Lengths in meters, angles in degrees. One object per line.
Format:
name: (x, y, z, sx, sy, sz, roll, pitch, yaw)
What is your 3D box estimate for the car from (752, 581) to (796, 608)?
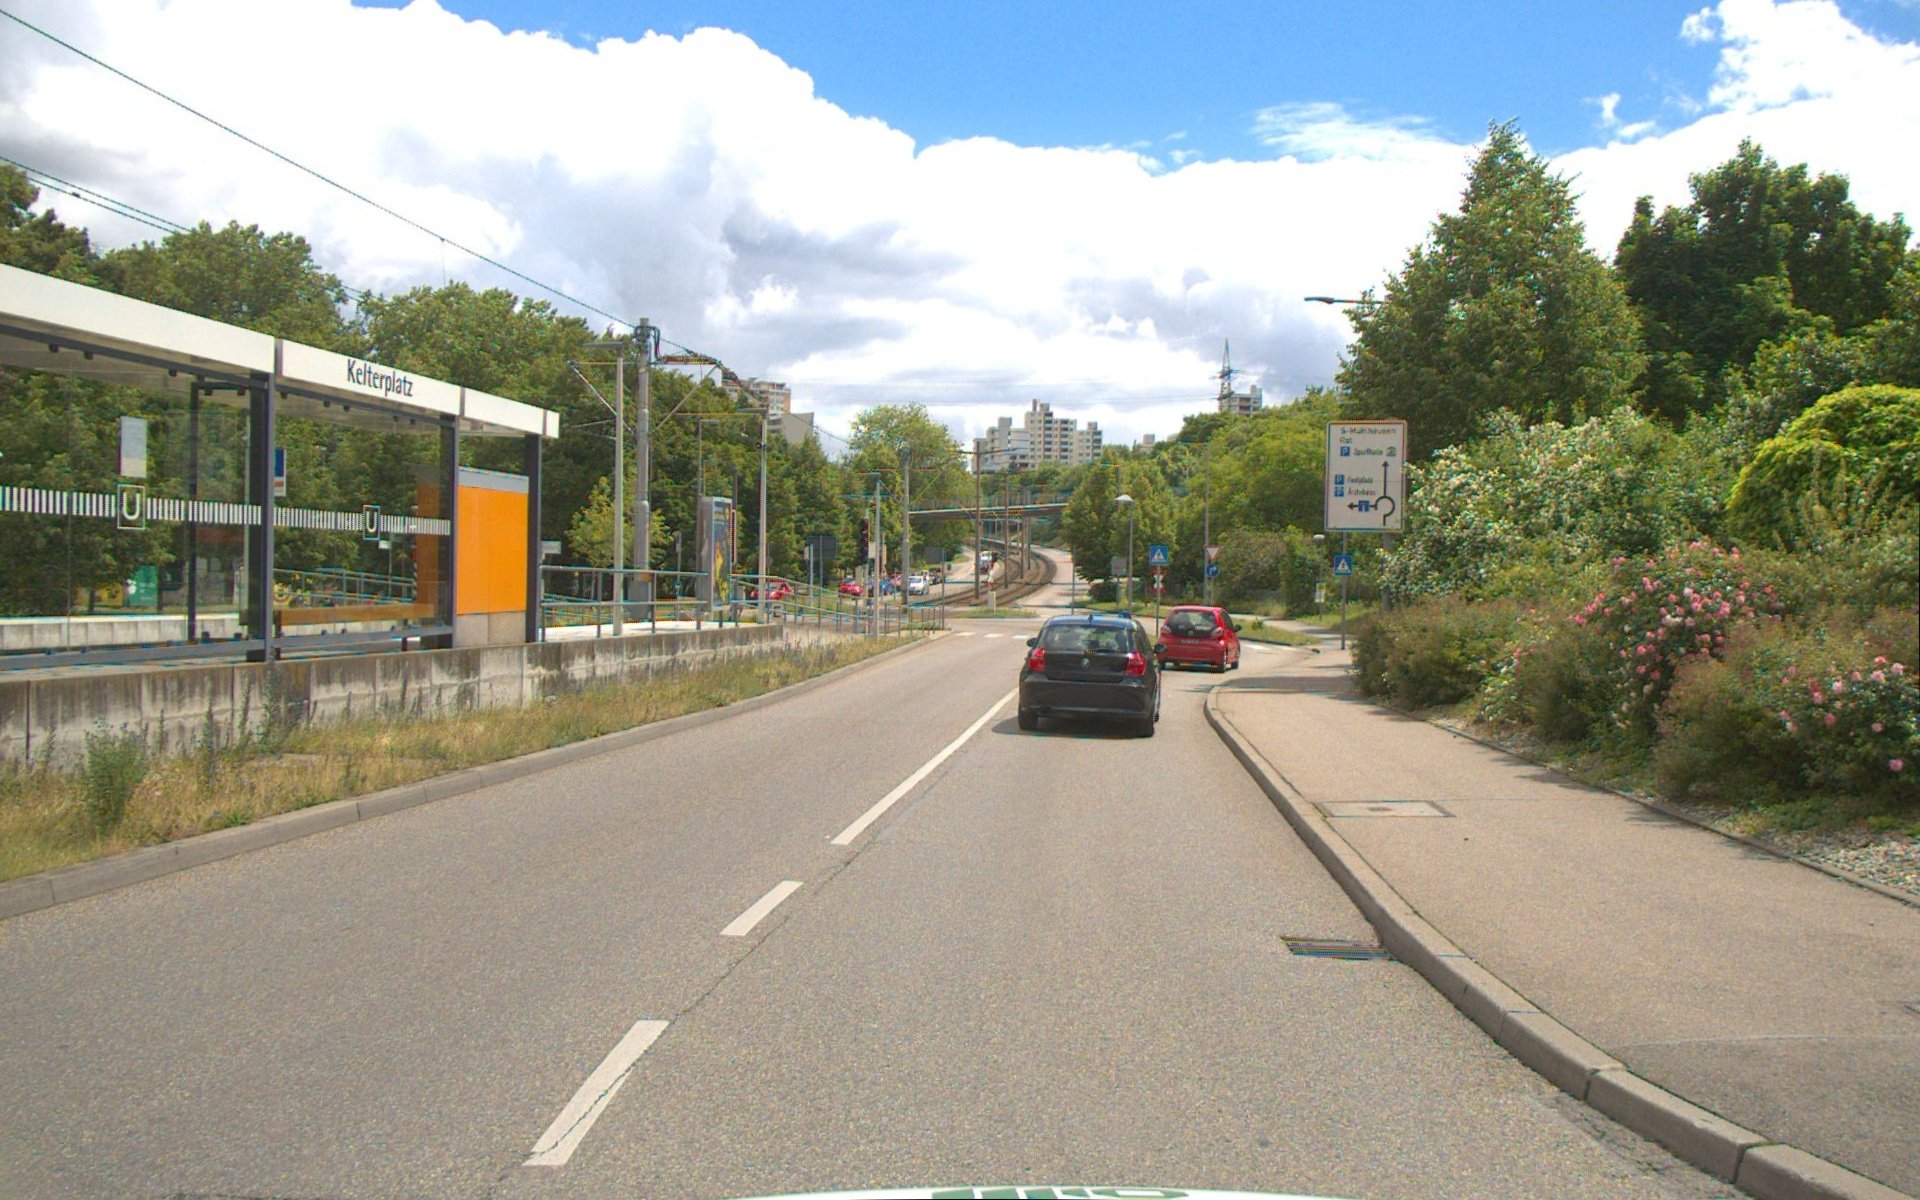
car: (-10.662, -0.319, 94.879, 1.683, 1.529, 2.969, 1, 1, 11)

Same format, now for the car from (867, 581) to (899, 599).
car: (-5.922, -0.763, 128.127, 1.767, 1.276, 3.571, 1, 2, 9)

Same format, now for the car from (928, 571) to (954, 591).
car: (-1.863, -1.895, 164.779, 1.951, 1.895, 4.004, 1, 2, 9)

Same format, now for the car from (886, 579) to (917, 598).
car: (-4.882, -0.970, 138.327, 1.872, 1.588, 4.004, 1, 1, 9)

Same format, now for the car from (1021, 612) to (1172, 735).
car: (1.833, 0.887, 21.502, 1.777, 1.446, 4.003, 0, -1, 6)

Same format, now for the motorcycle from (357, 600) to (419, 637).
motorcycle: (-17.688, 0.555, 51.202, 0.714, 1.100, 2.217, 1, 0, 13)

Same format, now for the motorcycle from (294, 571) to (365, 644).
motorcycle: (-18.253, 0.204, 47.925, 0.816, 2.049, 1.983, 1, 0, 20)

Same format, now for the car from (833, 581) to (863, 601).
car: (-7.958, -0.673, 117.462, 1.496, 1.394, 3.600, 1, 1, 6)

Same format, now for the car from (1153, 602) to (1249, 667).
car: (5.667, 0.771, 38.667, 1.728, 1.457, 3.481, 0, 0, 17)
